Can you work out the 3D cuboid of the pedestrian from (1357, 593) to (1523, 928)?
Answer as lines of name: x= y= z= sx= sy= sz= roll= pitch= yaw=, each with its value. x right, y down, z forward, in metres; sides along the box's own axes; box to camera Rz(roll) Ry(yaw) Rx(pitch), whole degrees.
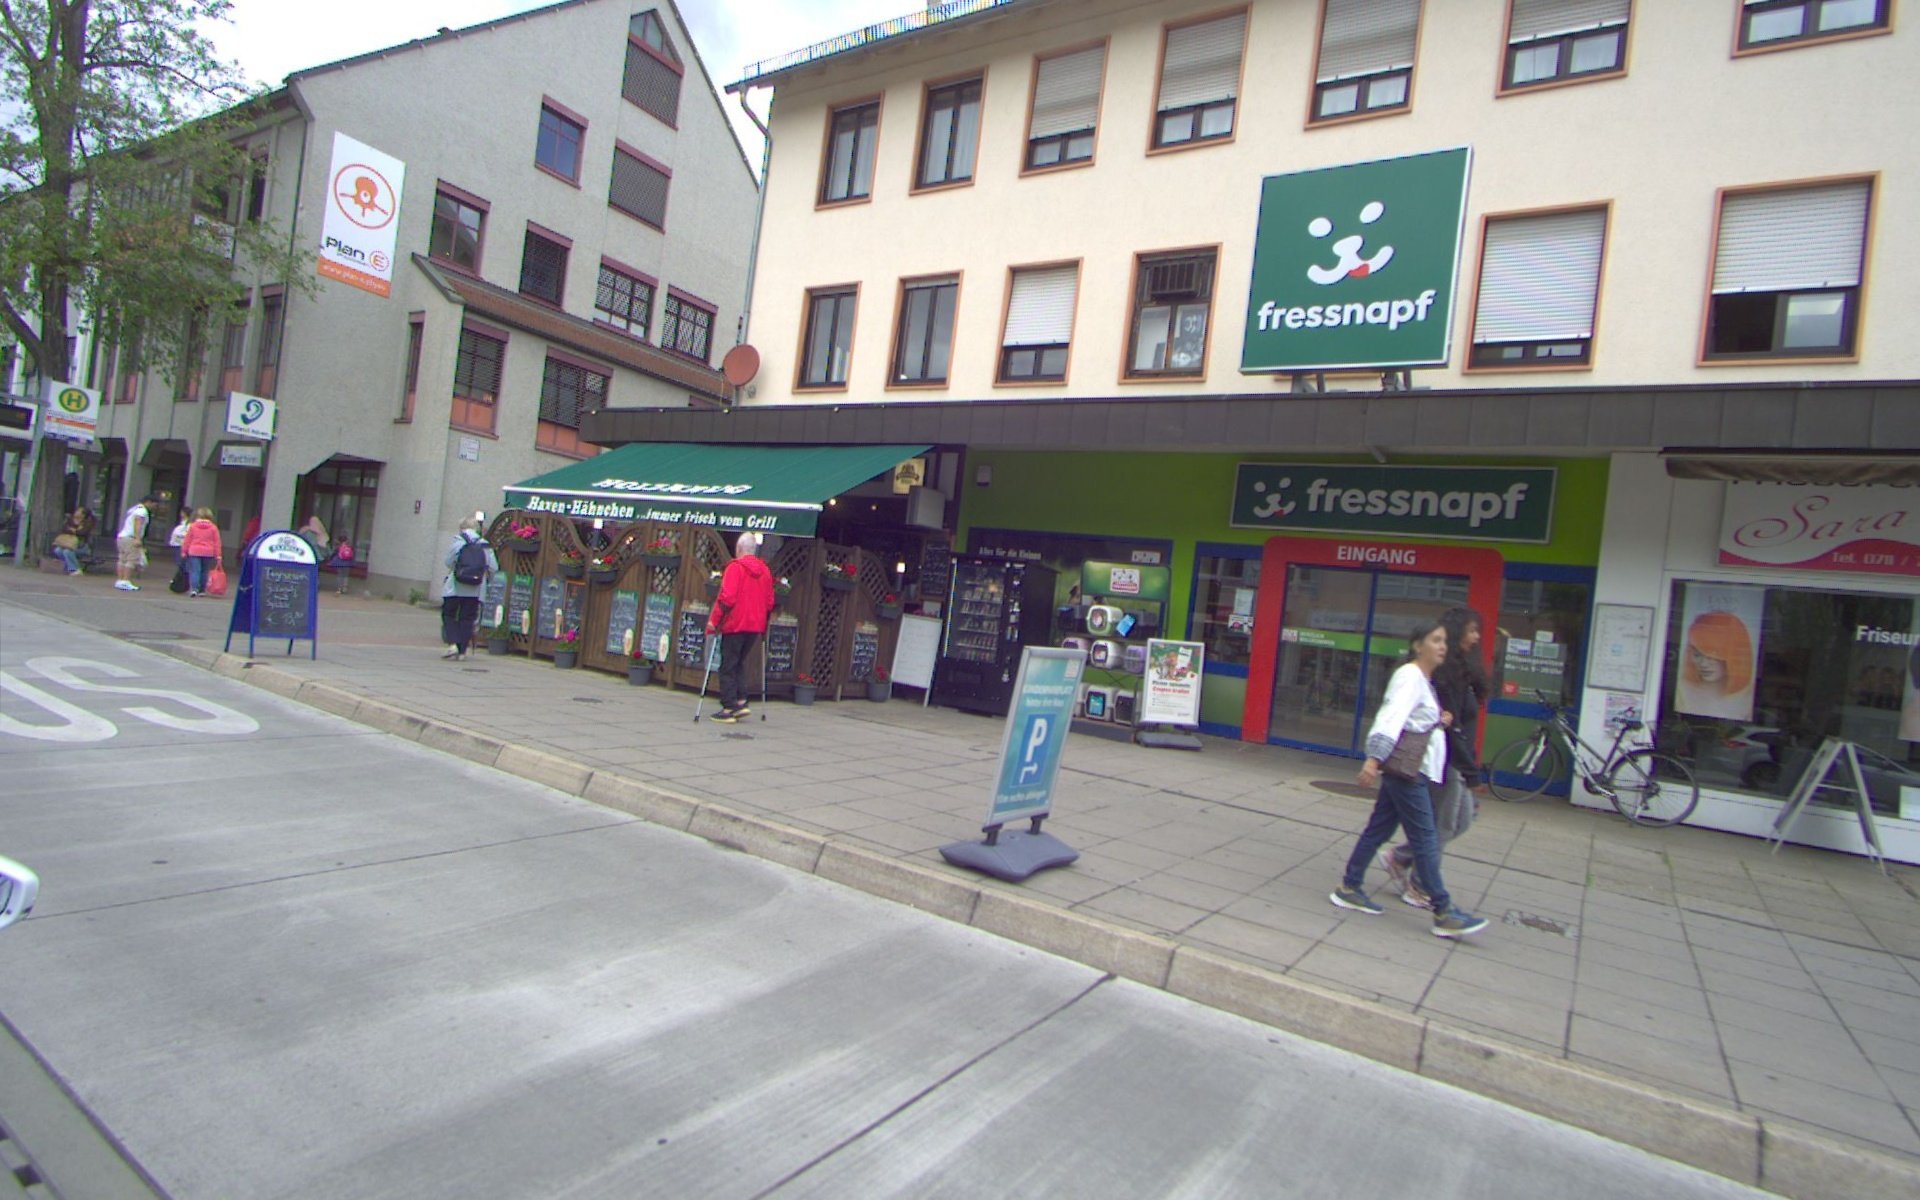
pedestrian: x=2.661 y=0.835 z=5.553 sx=0.604 sy=1.655 sz=0.719 roll=7 pitch=1 yaw=30

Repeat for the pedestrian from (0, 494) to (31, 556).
pedestrian: x=-20.099 y=-1.602 z=21.184 sx=0.580 sy=1.248 sz=0.698 roll=7 pitch=2 yaw=42

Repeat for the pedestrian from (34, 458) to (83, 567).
pedestrian: x=-18.017 y=-1.736 z=20.097 sx=0.611 sy=2.073 sz=0.581 roll=4 pitch=2 yaw=-44

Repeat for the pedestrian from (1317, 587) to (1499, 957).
pedestrian: x=2.247 y=0.808 z=5.026 sx=0.604 sy=1.655 sz=0.613 roll=7 pitch=1 yaw=31

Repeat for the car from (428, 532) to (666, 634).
car: x=-9.301 y=-0.322 z=23.026 sx=1.852 sy=1.638 sz=4.607 roll=7 pitch=-2 yaw=37

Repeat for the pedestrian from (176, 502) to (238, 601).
pedestrian: x=-13.029 y=-0.840 z=17.421 sx=0.669 sy=1.586 sz=0.487 roll=9 pitch=0 yaw=-37

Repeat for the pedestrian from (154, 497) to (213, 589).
pedestrian: x=-14.859 y=-1.092 z=19.248 sx=0.579 sy=1.654 sz=0.613 roll=7 pitch=0 yaw=38

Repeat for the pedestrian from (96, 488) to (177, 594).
pedestrian: x=-14.016 y=-0.992 z=17.133 sx=0.779 sy=1.654 sz=0.615 roll=8 pitch=1 yaw=21

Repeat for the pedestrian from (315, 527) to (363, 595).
pedestrian: x=-13.907 y=-0.871 z=22.530 sx=0.605 sy=1.392 sz=0.586 roll=8 pitch=0 yaw=35

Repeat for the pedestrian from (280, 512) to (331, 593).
pedestrian: x=-14.320 y=-1.039 z=22.014 sx=0.605 sy=1.654 sz=0.586 roll=8 pitch=0 yaw=35

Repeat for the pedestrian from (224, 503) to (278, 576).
pedestrian: x=-17.425 y=-1.468 z=24.720 sx=0.604 sy=1.654 sz=0.727 roll=8 pitch=0 yaw=25

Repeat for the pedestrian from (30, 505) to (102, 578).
pedestrian: x=-16.285 y=-1.065 z=18.335 sx=0.577 sy=1.180 sz=0.713 roll=8 pitch=0 yaw=27

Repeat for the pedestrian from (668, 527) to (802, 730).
pedestrian: x=-2.098 y=0.257 z=9.433 sx=0.768 sy=1.764 sz=0.796 roll=6 pitch=1 yaw=28

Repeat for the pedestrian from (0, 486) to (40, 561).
pedestrian: x=-19.093 y=-1.546 z=20.375 sx=0.611 sy=1.419 sz=0.581 roll=5 pitch=2 yaw=-44

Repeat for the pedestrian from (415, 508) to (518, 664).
pedestrian: x=-5.875 y=-0.161 z=11.985 sx=0.768 sy=1.764 sz=0.683 roll=6 pitch=1 yaw=28

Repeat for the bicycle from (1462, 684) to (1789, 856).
bicycle: x=5.981 y=1.483 z=9.222 sx=2.312 sy=1.076 sz=0.742 roll=7 pitch=1 yaw=32
